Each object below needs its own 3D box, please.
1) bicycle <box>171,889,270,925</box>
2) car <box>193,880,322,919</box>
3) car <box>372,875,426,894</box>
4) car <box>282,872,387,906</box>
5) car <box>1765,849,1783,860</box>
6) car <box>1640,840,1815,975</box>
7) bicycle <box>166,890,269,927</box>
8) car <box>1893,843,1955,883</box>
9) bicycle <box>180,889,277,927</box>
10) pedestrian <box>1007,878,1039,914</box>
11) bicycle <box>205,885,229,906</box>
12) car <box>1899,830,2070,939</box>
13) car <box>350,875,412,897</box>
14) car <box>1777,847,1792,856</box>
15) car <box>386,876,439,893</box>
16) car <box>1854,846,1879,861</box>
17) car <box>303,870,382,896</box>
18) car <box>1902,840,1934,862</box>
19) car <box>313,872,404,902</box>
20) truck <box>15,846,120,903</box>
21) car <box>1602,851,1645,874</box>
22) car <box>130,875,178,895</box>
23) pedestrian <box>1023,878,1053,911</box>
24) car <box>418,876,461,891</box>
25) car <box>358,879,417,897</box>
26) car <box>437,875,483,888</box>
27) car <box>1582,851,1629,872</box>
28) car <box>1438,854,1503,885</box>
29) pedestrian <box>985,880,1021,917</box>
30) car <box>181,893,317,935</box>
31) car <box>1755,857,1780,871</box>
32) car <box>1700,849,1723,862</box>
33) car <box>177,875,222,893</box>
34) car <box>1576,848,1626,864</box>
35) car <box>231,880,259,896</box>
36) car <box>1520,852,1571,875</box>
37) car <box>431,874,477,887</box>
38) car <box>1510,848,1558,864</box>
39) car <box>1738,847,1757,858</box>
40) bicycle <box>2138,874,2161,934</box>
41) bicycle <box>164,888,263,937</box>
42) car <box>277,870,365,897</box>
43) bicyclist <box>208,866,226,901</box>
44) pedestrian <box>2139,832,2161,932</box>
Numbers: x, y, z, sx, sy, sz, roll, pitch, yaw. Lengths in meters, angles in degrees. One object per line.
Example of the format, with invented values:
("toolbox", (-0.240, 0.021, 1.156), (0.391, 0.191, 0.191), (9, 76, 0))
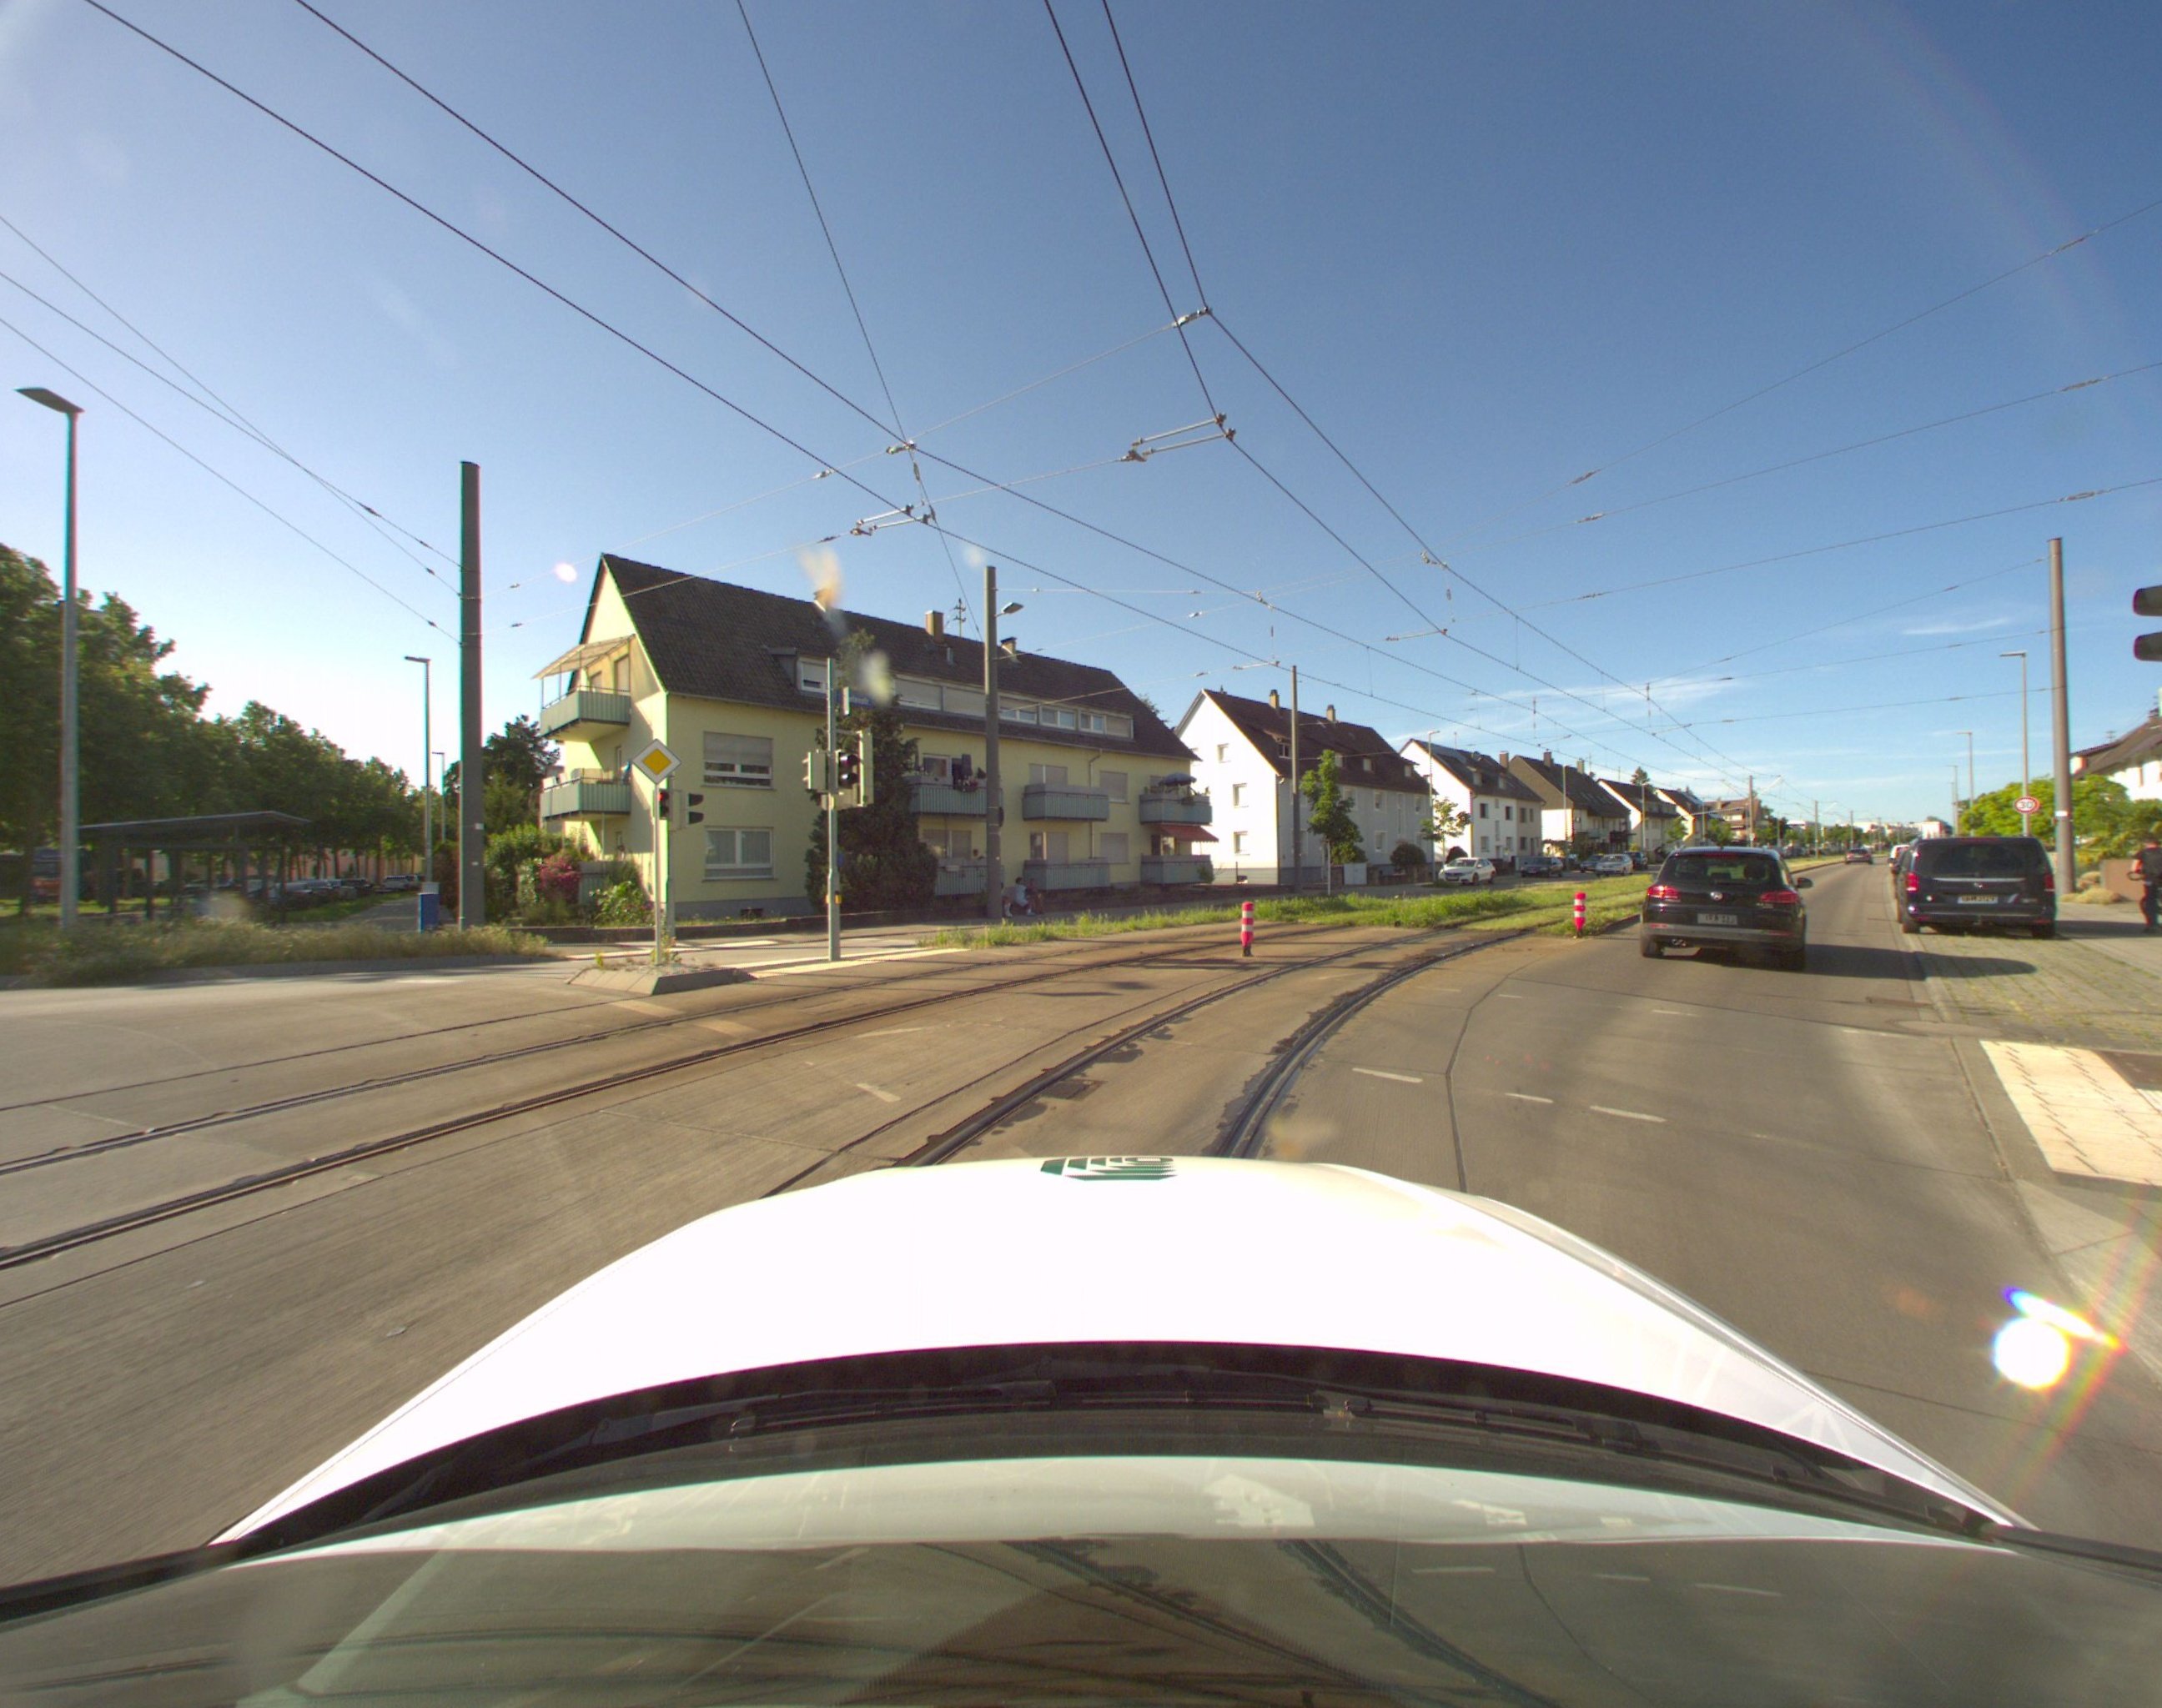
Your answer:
("bicycle", (-25.933, 1.592, 24.597), (1.990, 1.028, 0.681), (2, -2, -42))
("car", (-34.062, 1.850, 33.830), (3.544, 1.533, 1.559), (1, -2, -38))
("car", (-56.299, 2.514, 67.304), (3.386, 1.533, 1.505), (2, -2, -39))
("car", (-35.633, 1.652, 38.984), (3.544, 1.533, 1.559), (1, -2, -38))
("car", (107.078, 0.030, 125.801), (4.022, 1.581, 1.645), (2, -2, -44))
("car", (9.836, 0.657, 12.367), (1.795, 1.670, 4.284), (1, 1, 40))
("bicycle", (-25.299, 1.571, 23.904), (1.990, 1.028, 0.688), (2, -2, -42))
("car", (34.960, 0.357, 33.785), (3.857, 1.547, 1.651), (-1, -3, -44))
("bicycle", (-24.483, 1.532, 23.432), (1.856, 1.028, 0.681), (2, -2, -42))
("pedestrian", (-1.743, 1.246, 24.413), (0.812, 1.065, 0.629), (0, -2, 12))
("bicycle", (-43.078, 2.066, 40.615), (1.515, 1.037, 0.773), (-4, -3, 44))
("car", (17.663, 0.511, 16.152), (1.943, 1.836, 4.956), (-2, -1, 45))
("car", (-53.483, 2.437, 62.317), (3.437, 1.533, 1.508), (-1, -1, -35))
("car", (111.434, -0.406, 129.068), (1.501, 1.361, 3.611), (-2, -1, 45))
("car", (-58.683, 2.675, 71.529), (3.507, 1.493, 1.534), (2, -2, -39))
("car", (71.854, -0.045, 74.486), (3.635, 1.391, 1.558), (-1, -1, -44))
("car", (-46.789, 1.831, 51.669), (3.544, 1.533, 1.559), (1, -2, -38))
("car", (76.179, -0.266, 74.146), (4.945, 1.862, 1.975), (-1, -1, -44))
("car", (-38.756, 1.760, 43.795), (3.544, 1.533, 1.559), (1, -2, -38))
("truck", (-75.162, 1.494, 60.609), (3.094, 3.993, 7.916), (2, -2, -38))
("car", (34.934, 0.549, 52.388), (3.680, 1.412, 1.536), (-1, -1, -44))
("car", (-80.825, 2.708, 71.032), (2.010, 1.700, 4.169), (2, -2, -39))
("pedestrian", (-1.326, 1.240, 25.009), (0.715, 1.006, 0.598), (-1, -2, 21))
("car", (-69.024, 3.142, 87.691), (3.545, 1.533, 1.559), (2, -2, -39))
("car", (-55.143, 2.717, 64.826), (3.466, 1.394, 1.224), (1, -2, -35))
("car", (-61.833, 2.759, 81.122), (3.545, 1.296, 1.559), (1, -2, -39))
("car", (40.866, 0.557, 63.431), (4.907, 1.523, 1.860), (0, 0, -42))
("car", (20.736, 0.810, 43.300), (4.238, 1.518, 1.677), (-1, -1, -44))
("pedestrian", (-2.271, 1.282, 23.723), (0.809, 1.046, 0.692), (-2, -2, 42))
("car", (-32.983, 2.343, 32.421), (3.544, 1.533, 1.559), (1, -2, -38))
("car", (78.944, 1.196, 93.633), (4.046, 1.491, 1.692), (2, -2, -44))
("car", (73.390, 0.152, 94.814), (3.738, 1.409, 1.604), (2, -2, -44))
("car", (-85.225, 2.857, 78.803), (2.008, 1.700, 4.173), (1, -2, -34))
("car", (54.357, 0.230, 85.182), (4.126, 1.617, 1.770), (-1, -1, 42))
("car", (-91.876, 3.697, 89.519), (1.661, 1.648, 3.527), (2, -2, -39))
("car", (30.459, 0.604, 53.353), (4.190, 1.463, 1.774), (-1, -1, -44))
("car", (-62.106, 2.623, 80.644), (3.545, 1.279, 1.559), (1, -2, -39))
("car", (49.426, 0.266, 88.903), (1.867, 1.654, 4.122), (-1, -1, -41))
("car", (90.509, -0.173, 110.582), (3.600, 1.497, 1.644), (-1, -1, -44))
("bicycle", (18.945, 0.841, 14.095), (1.571, 0.980, 0.595), (0, -3, -43))
("bicycle", (-22.676, 1.500, 21.342), (1.680, 1.208, 0.681), (2, -2, -42))
("car", (-43.700, 1.693, 46.912), (3.544, 1.533, 1.438), (1, -2, -38))
("bicyclist", (-43.113, 1.481, 40.652), (0.537, 1.714, 0.608), (-7, -5, 44))
("pedestrian", (19.073, 0.476, 14.242), (0.718, 1.723, 0.577), (0, -1, -44))
